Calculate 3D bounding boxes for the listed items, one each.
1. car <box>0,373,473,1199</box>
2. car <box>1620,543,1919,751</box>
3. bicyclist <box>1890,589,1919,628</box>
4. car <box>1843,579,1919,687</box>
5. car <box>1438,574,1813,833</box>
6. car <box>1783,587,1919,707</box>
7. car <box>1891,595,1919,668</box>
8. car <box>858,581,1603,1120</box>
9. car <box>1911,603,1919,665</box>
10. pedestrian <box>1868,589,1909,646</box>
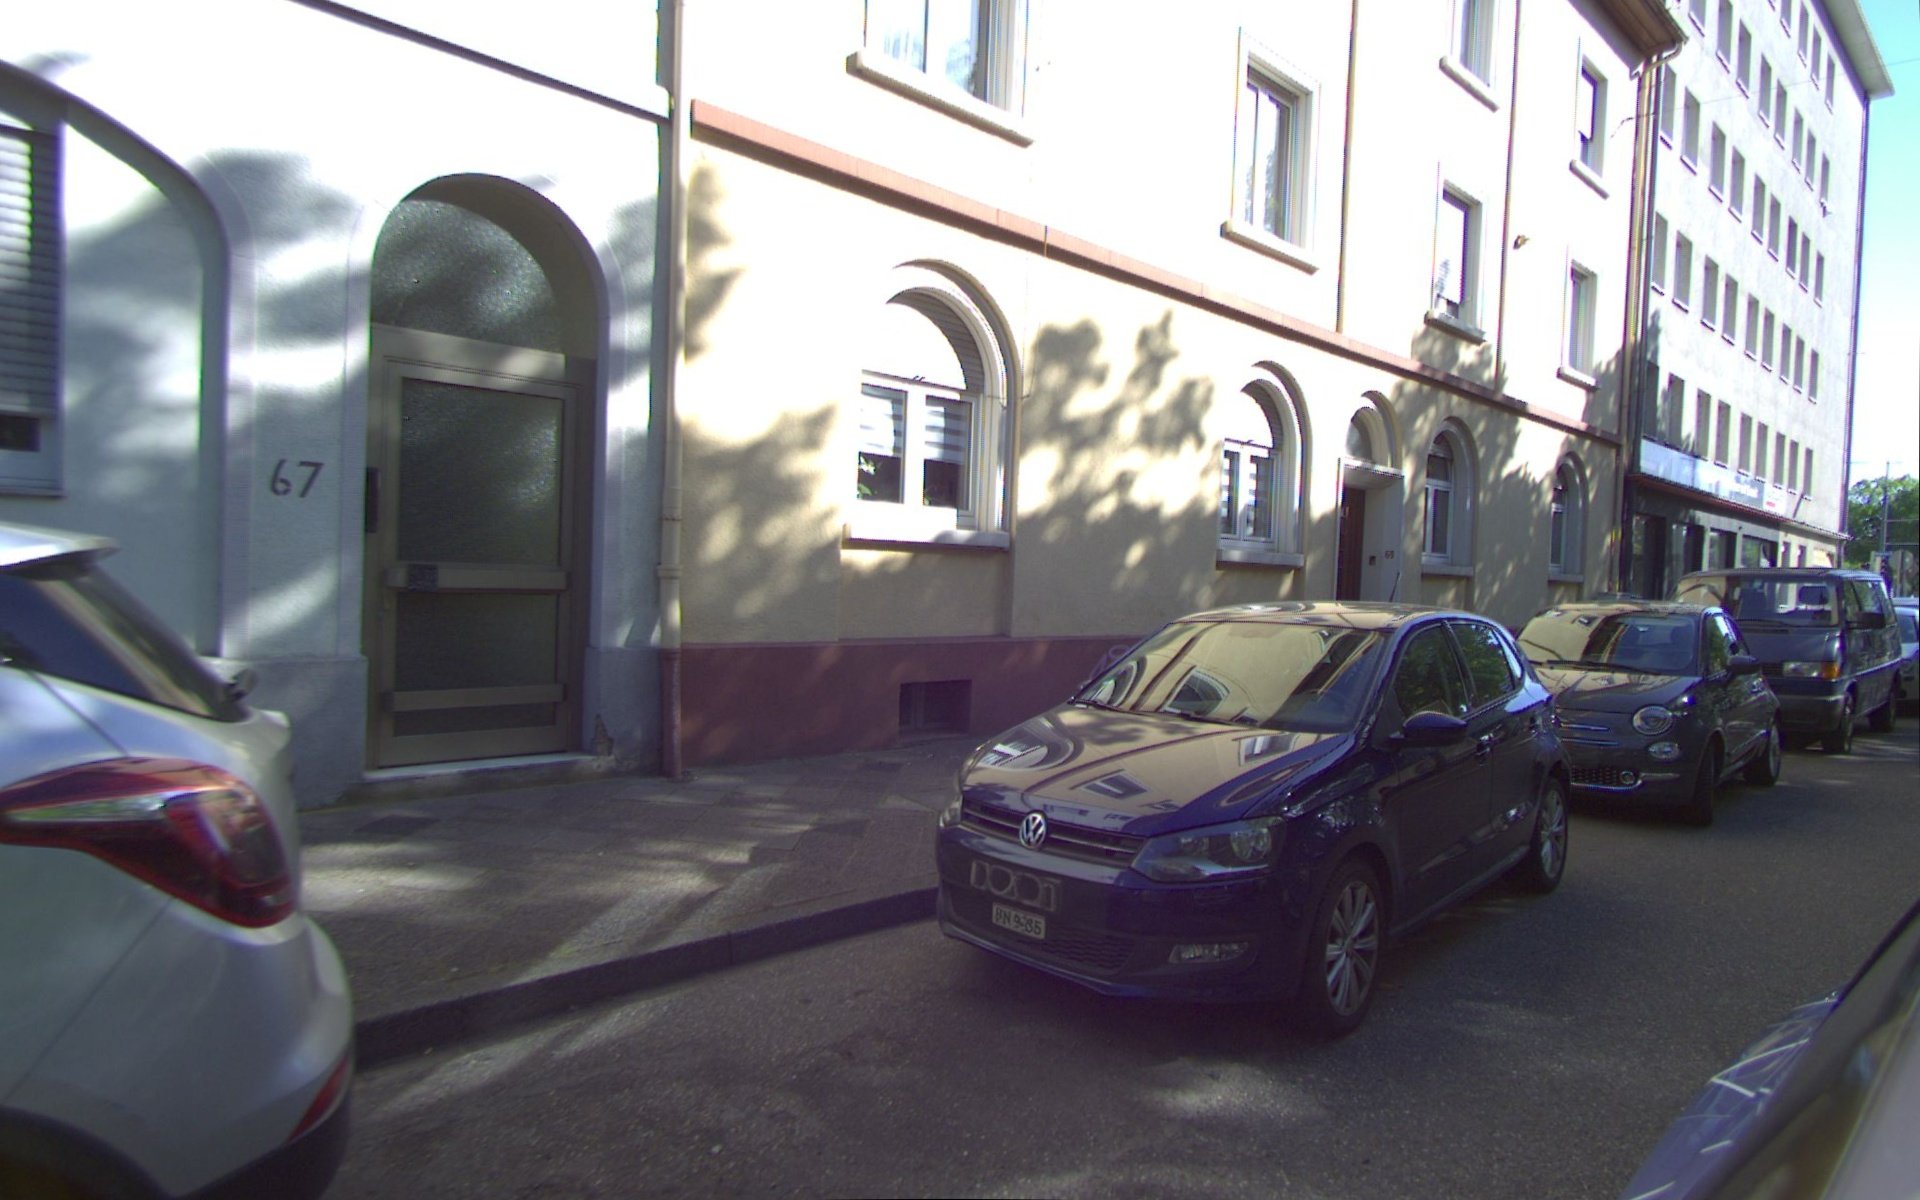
[{"bbox_3d":[-2.889,0.528,0.907,4.088,1.707,1.725,0,2,-43],"label":"car"},{"bbox_3d":[9.538,0.401,11.651,4.760,1.924,1.953,0,2,-41],"label":"car"},{"bbox_3d":[39.110,0.352,41.815,0.820,1.583,0.590,3,2,28],"label":"bicyclist"},{"bbox_3d":[17.657,0.570,18.503,4.433,1.775,1.765,0,2,-43],"label":"car"},{"bbox_3d":[5.294,0.610,7.881,3.534,1.517,1.624,0,2,-43],"label":"car"},{"bbox_3d":[13.767,0.620,14.980,4.164,1.519,1.765,0,2,-41],"label":"car"},{"bbox_3d":[21.622,0.677,22.023,1.803,1.481,4.369,3,2,45],"label":"car"},{"bbox_3d":[1.513,0.667,4.617,3.798,1.411,1.550,0,2,-45],"label":"car"},{"bbox_3d":[24.986,0.862,25.078,3.607,1.481,1.600,0,2,-40],"label":"car"},{"bbox_3d":[29.030,0.536,31.642,0.731,1.743,0.762,1,1,-34],"label":"pedestrian"}]
